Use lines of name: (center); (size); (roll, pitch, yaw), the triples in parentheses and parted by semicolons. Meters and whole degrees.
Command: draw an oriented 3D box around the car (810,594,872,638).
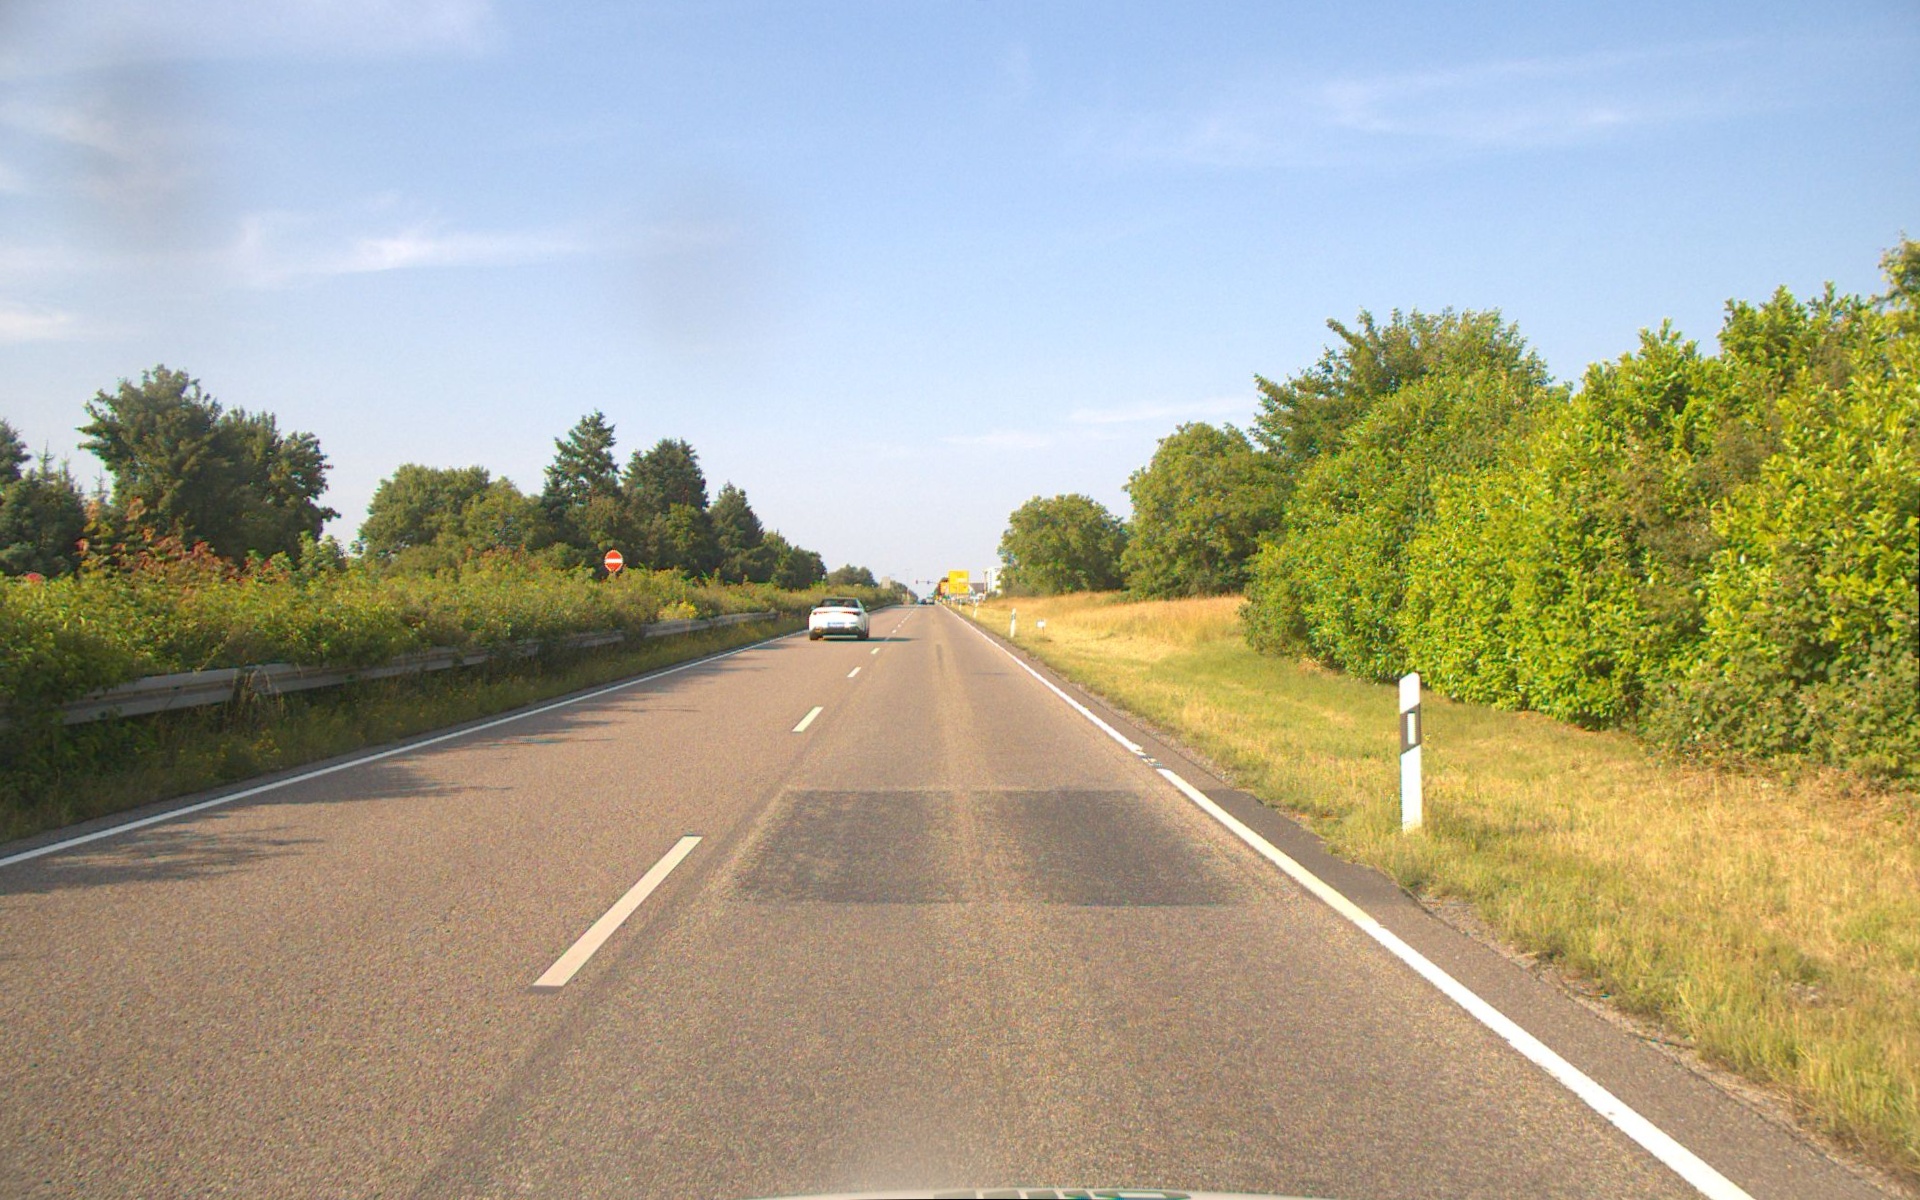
car: (-3.906, 0.525, 54.887); (1.735, 1.361, 4.949); (1, 0, -1)
